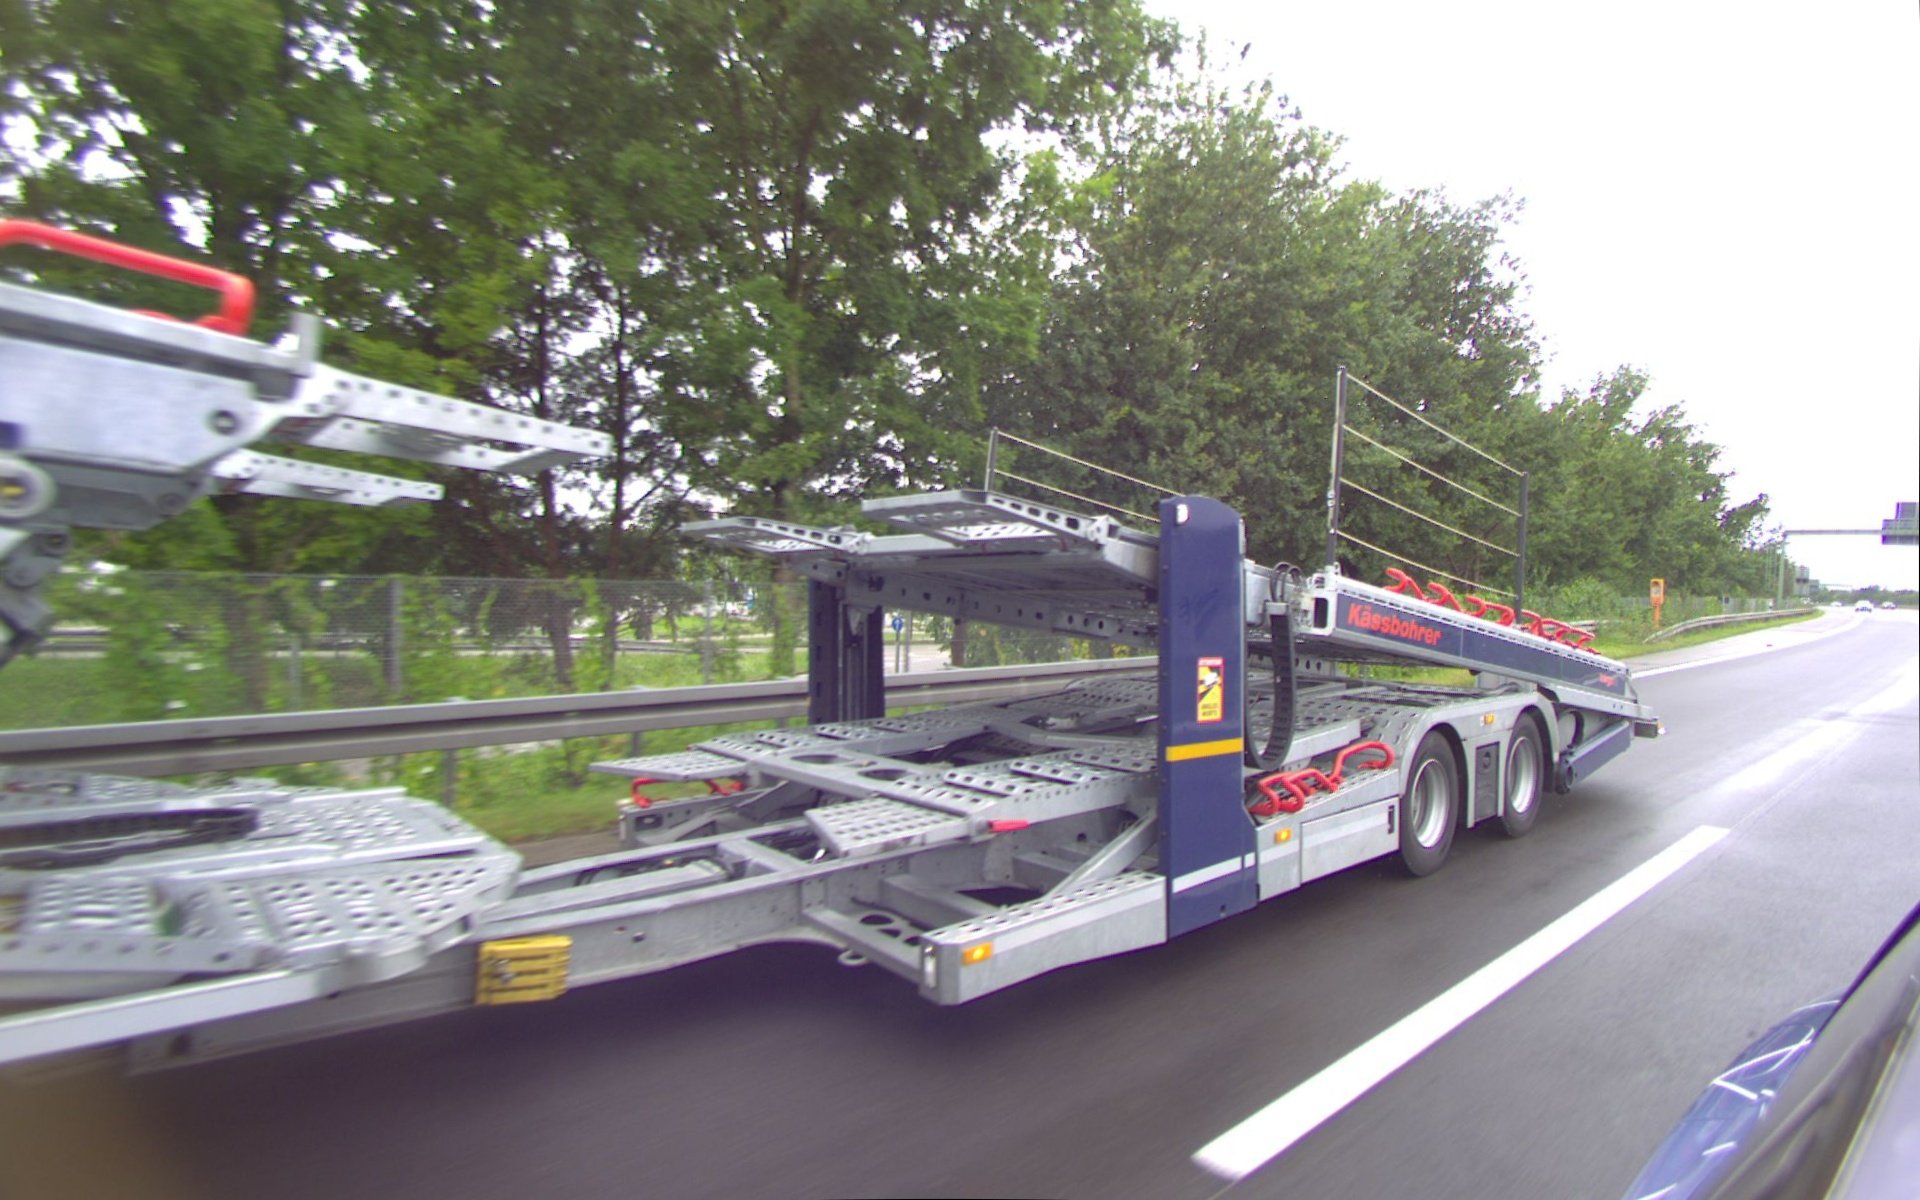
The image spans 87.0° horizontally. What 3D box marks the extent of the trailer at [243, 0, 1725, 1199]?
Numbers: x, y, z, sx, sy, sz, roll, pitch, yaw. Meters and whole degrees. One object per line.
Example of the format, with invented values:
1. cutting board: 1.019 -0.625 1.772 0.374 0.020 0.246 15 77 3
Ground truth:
1. trailer: 1.891 -0.282 6.388 10.228 3.326 2.782 0 1 -42

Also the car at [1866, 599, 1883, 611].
1. car: 137.464 0.710 152.130 1.622 1.661 3.726 1 2 38
